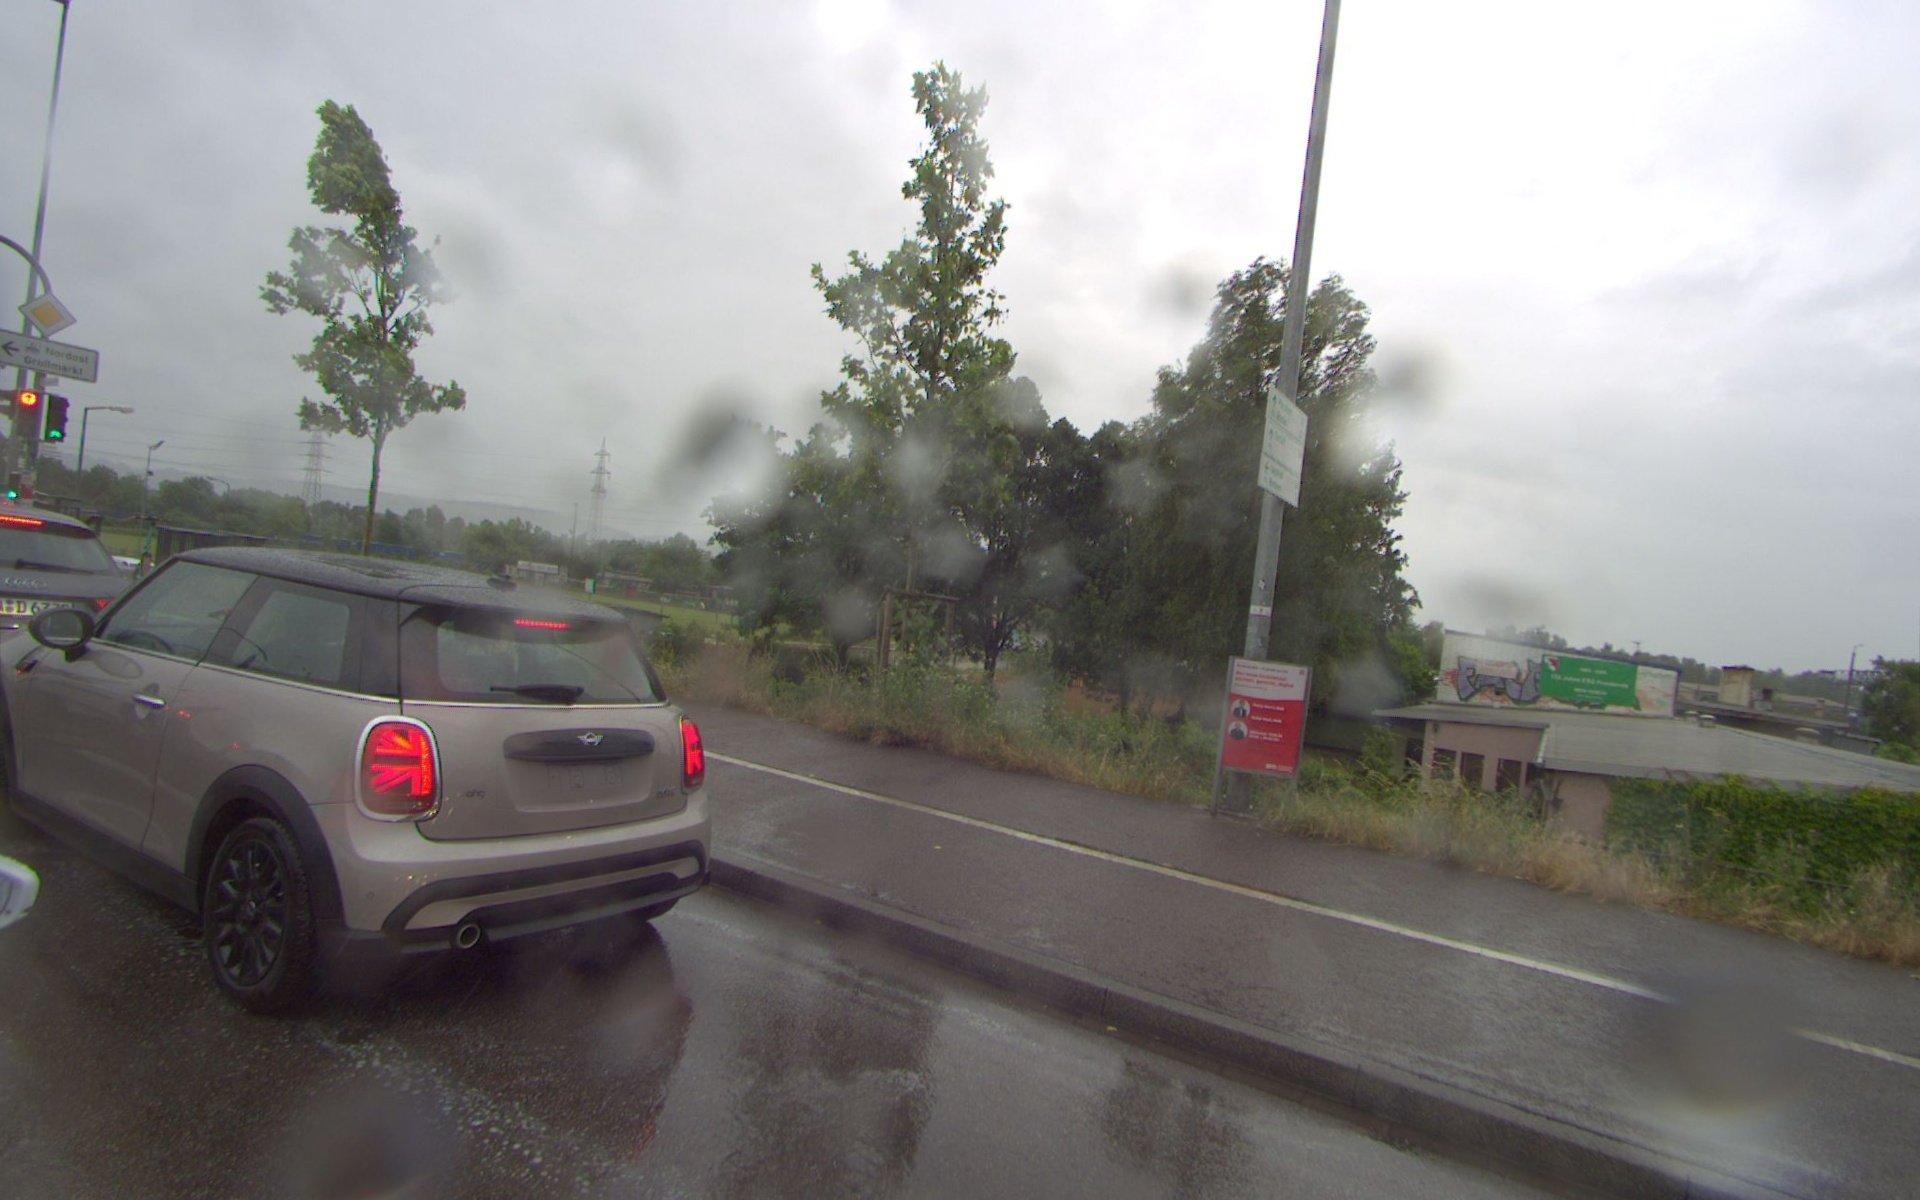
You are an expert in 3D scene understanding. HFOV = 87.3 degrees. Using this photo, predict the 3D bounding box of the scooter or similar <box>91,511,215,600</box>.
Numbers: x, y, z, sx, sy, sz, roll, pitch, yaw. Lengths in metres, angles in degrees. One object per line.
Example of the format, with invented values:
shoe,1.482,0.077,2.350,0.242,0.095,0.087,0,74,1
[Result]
scooter or similar,-13.878,-0.791,17.253,2.971,1.226,0.691,7,0,33

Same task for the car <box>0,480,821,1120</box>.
car,-2.706,0.482,4.295,3.815,1.524,1.707,7,-4,32

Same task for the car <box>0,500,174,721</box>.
car,-7.509,-0.069,7.253,3.569,1.383,1.600,5,-1,30
